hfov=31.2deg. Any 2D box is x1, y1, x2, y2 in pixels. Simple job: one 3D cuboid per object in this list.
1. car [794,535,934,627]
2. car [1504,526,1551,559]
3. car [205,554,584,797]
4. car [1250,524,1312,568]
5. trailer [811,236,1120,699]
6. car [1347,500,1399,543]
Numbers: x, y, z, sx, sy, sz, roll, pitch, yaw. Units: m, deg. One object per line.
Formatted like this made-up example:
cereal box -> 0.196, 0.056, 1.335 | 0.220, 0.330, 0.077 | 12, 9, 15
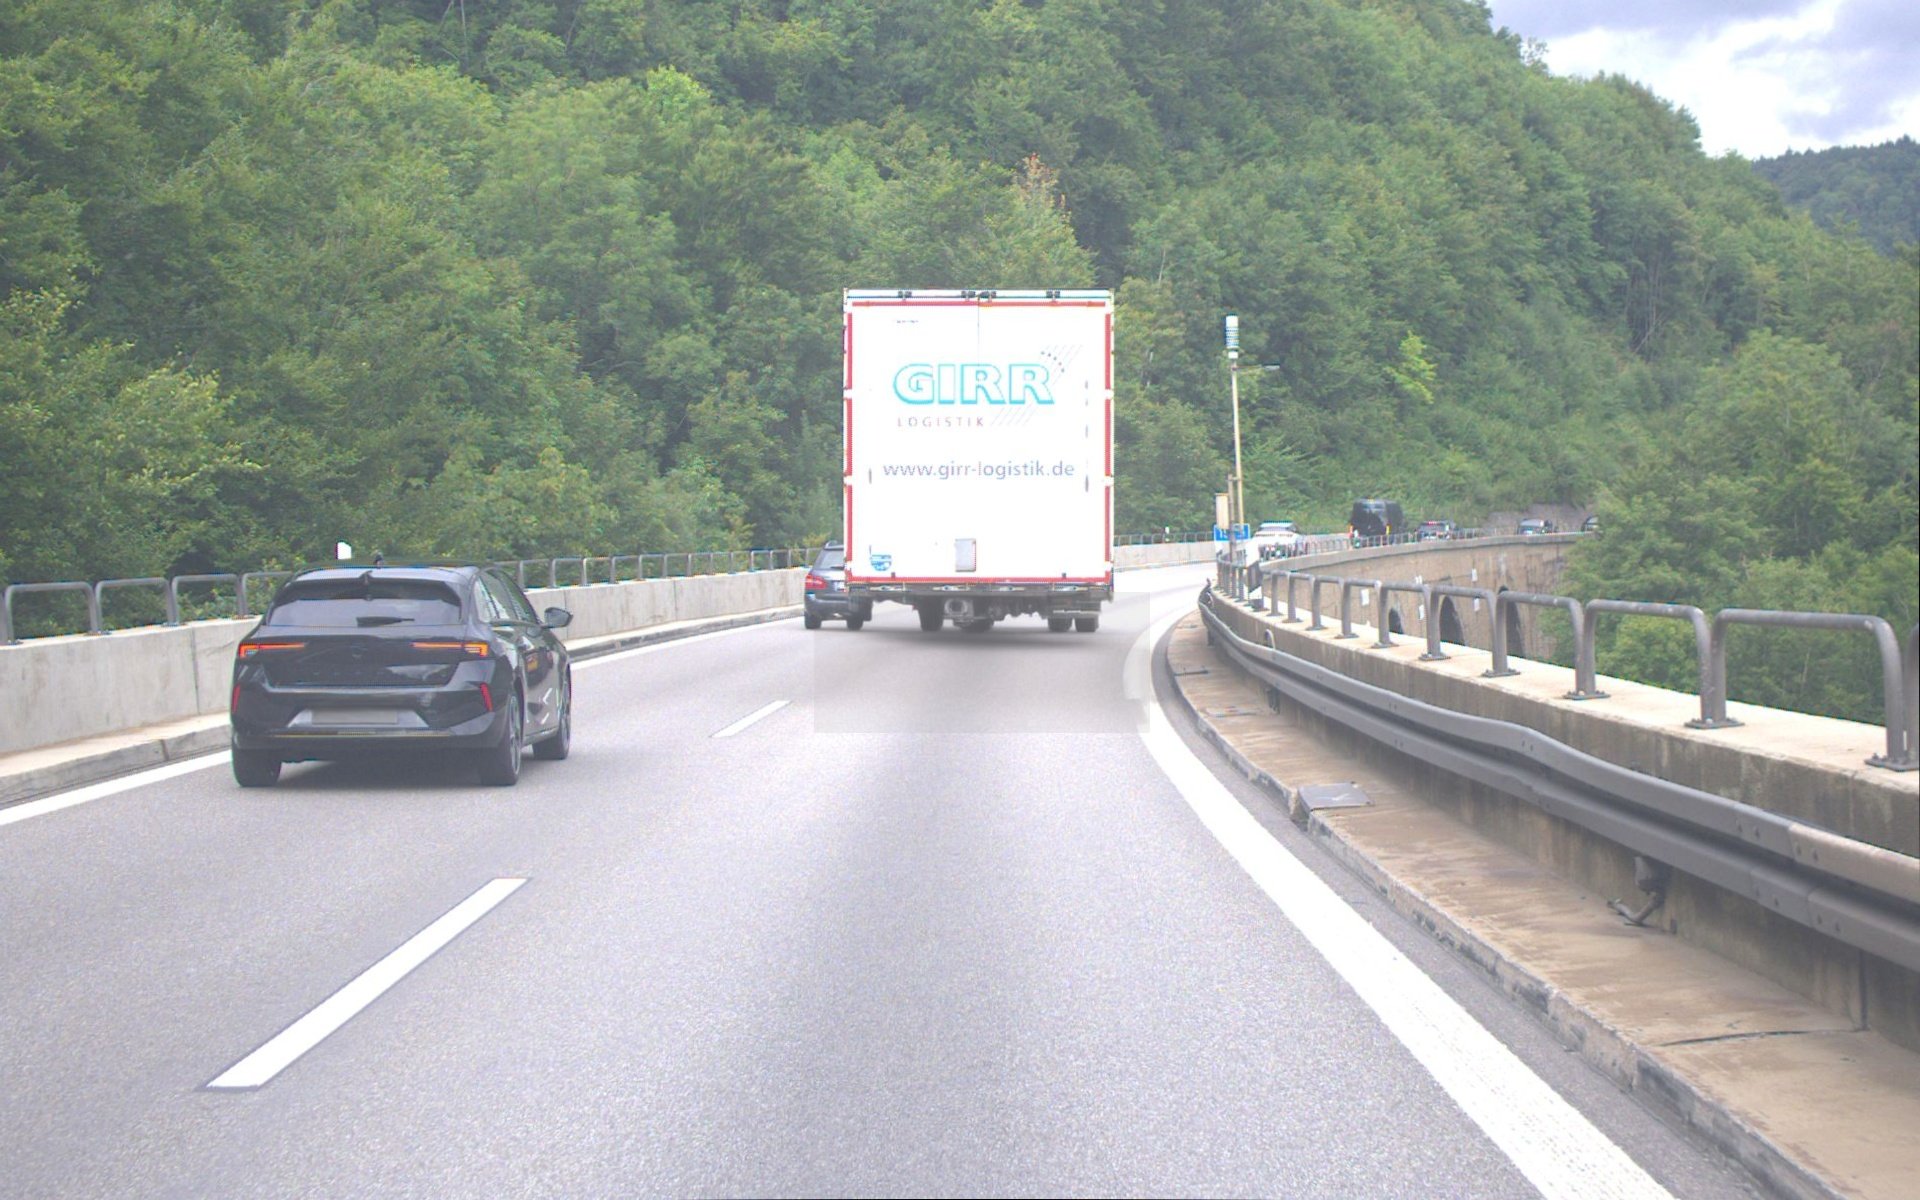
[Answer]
car -> -1.608, -0.336, 58.984 | 1.884, 1.505, 4.418 | -1, 0, 5
car -> 31.778, -3.211, 192.352 | 1.995, 1.788, 3.996 | 0, 0, 19
car -> -3.666, 0.424, 23.044 | 1.773, 1.456, 4.582 | 0, 1, 0
car -> 13.568, -2.274, 145.294 | 1.995, 1.788, 3.997 | 0, 0, 14
trailer -> 0.330, -1.287, 38.293 | 2.813, 4.288, 12.244 | -1, 0, 3
car -> 20.306, -3.830, 168.894 | 1.995, 2.007, 3.997 | 0, 0, 15
